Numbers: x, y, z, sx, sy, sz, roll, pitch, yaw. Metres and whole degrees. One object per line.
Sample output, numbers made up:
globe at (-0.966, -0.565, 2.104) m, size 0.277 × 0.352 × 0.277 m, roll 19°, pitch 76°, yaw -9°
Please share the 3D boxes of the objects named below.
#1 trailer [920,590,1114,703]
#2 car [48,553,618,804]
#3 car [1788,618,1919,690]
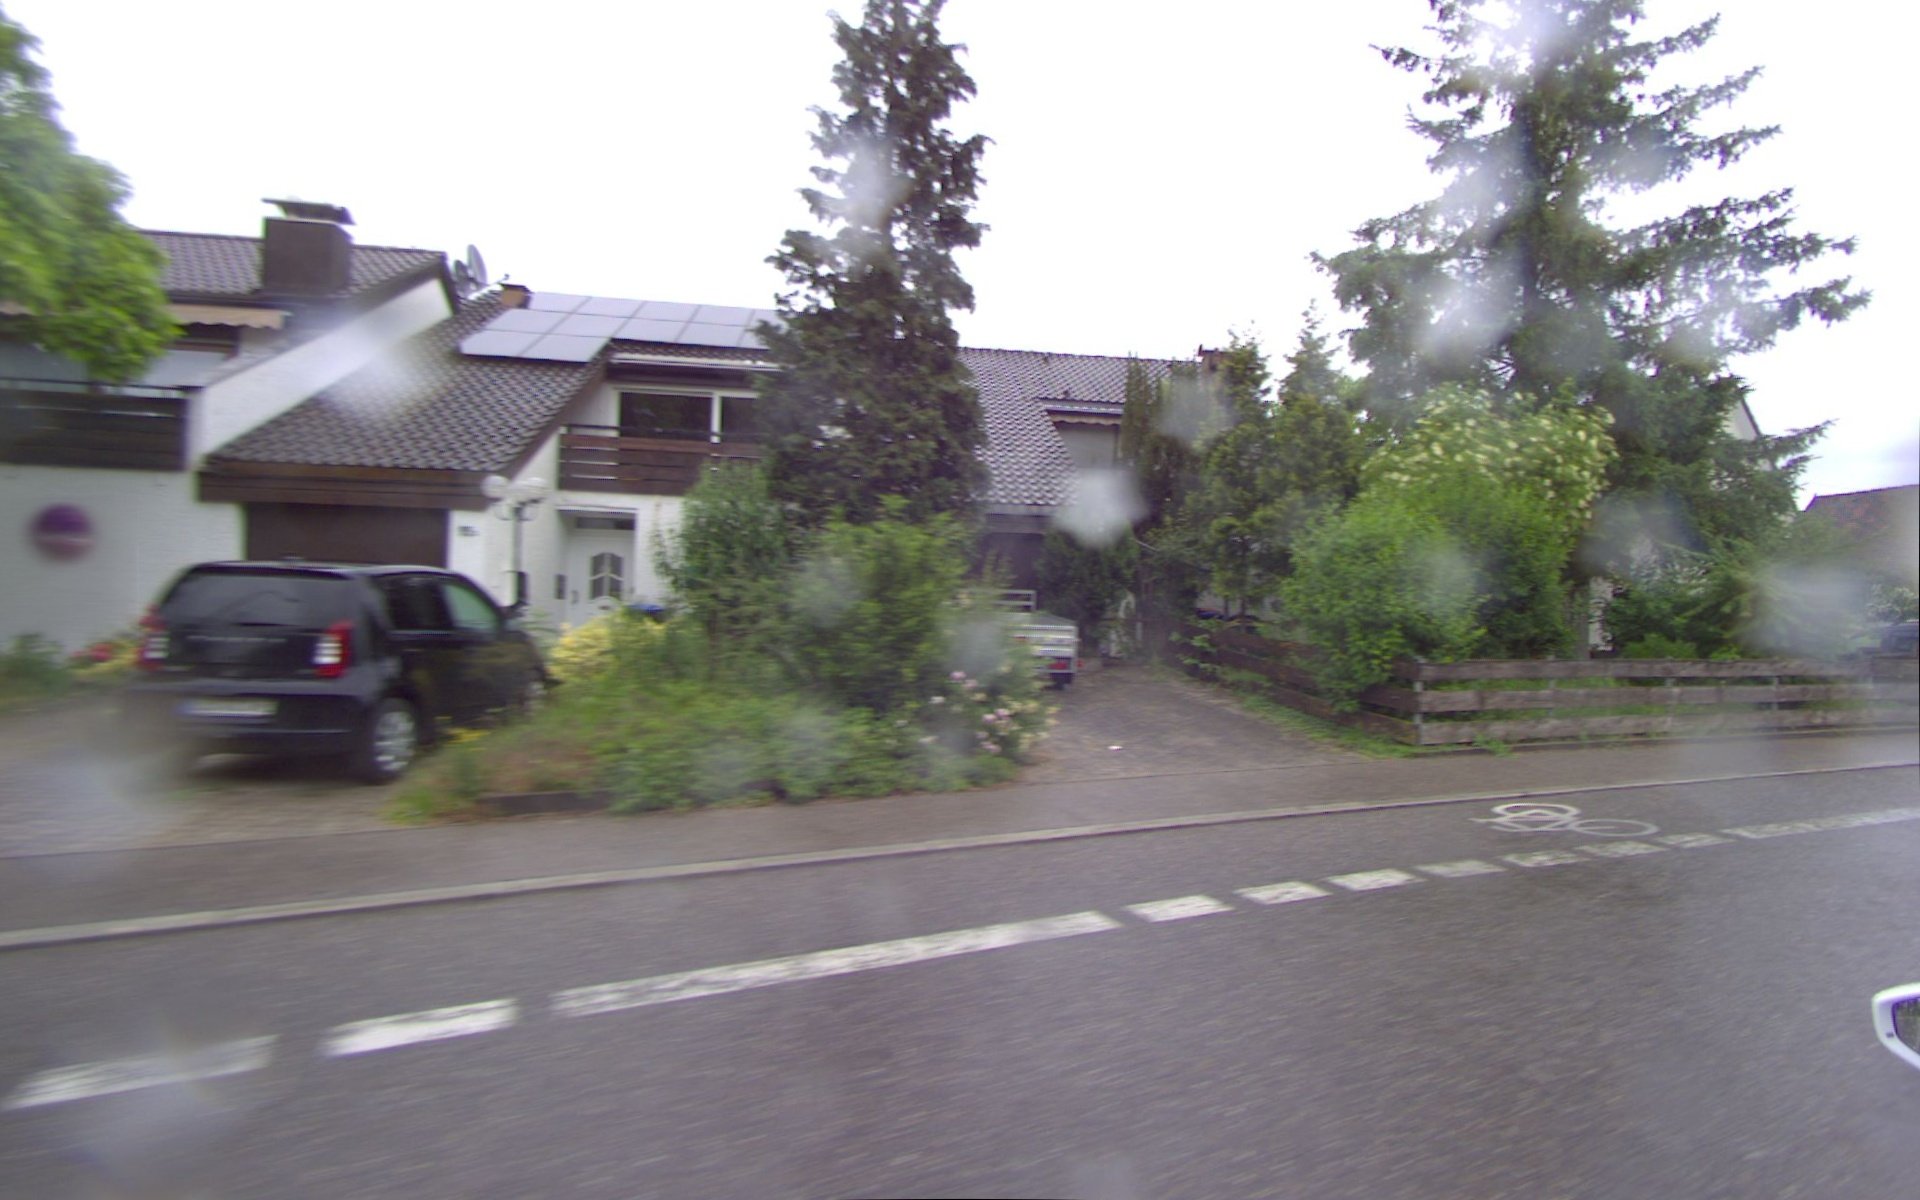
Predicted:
trailer at (0.608, 0.533, 13.616) m, size 1.891 × 1.223 × 3.691 m, roll 1°, pitch 2°, yaw -9°
car at (-4.453, 0.455, 8.025) m, size 1.902 × 1.408 × 4.001 m, roll 3°, pitch 1°, yaw 2°
car at (23.141, 1.294, 24.709) m, size 1.964 × 1.641 × 3.993 m, roll 1°, pitch -1°, yaw -10°
